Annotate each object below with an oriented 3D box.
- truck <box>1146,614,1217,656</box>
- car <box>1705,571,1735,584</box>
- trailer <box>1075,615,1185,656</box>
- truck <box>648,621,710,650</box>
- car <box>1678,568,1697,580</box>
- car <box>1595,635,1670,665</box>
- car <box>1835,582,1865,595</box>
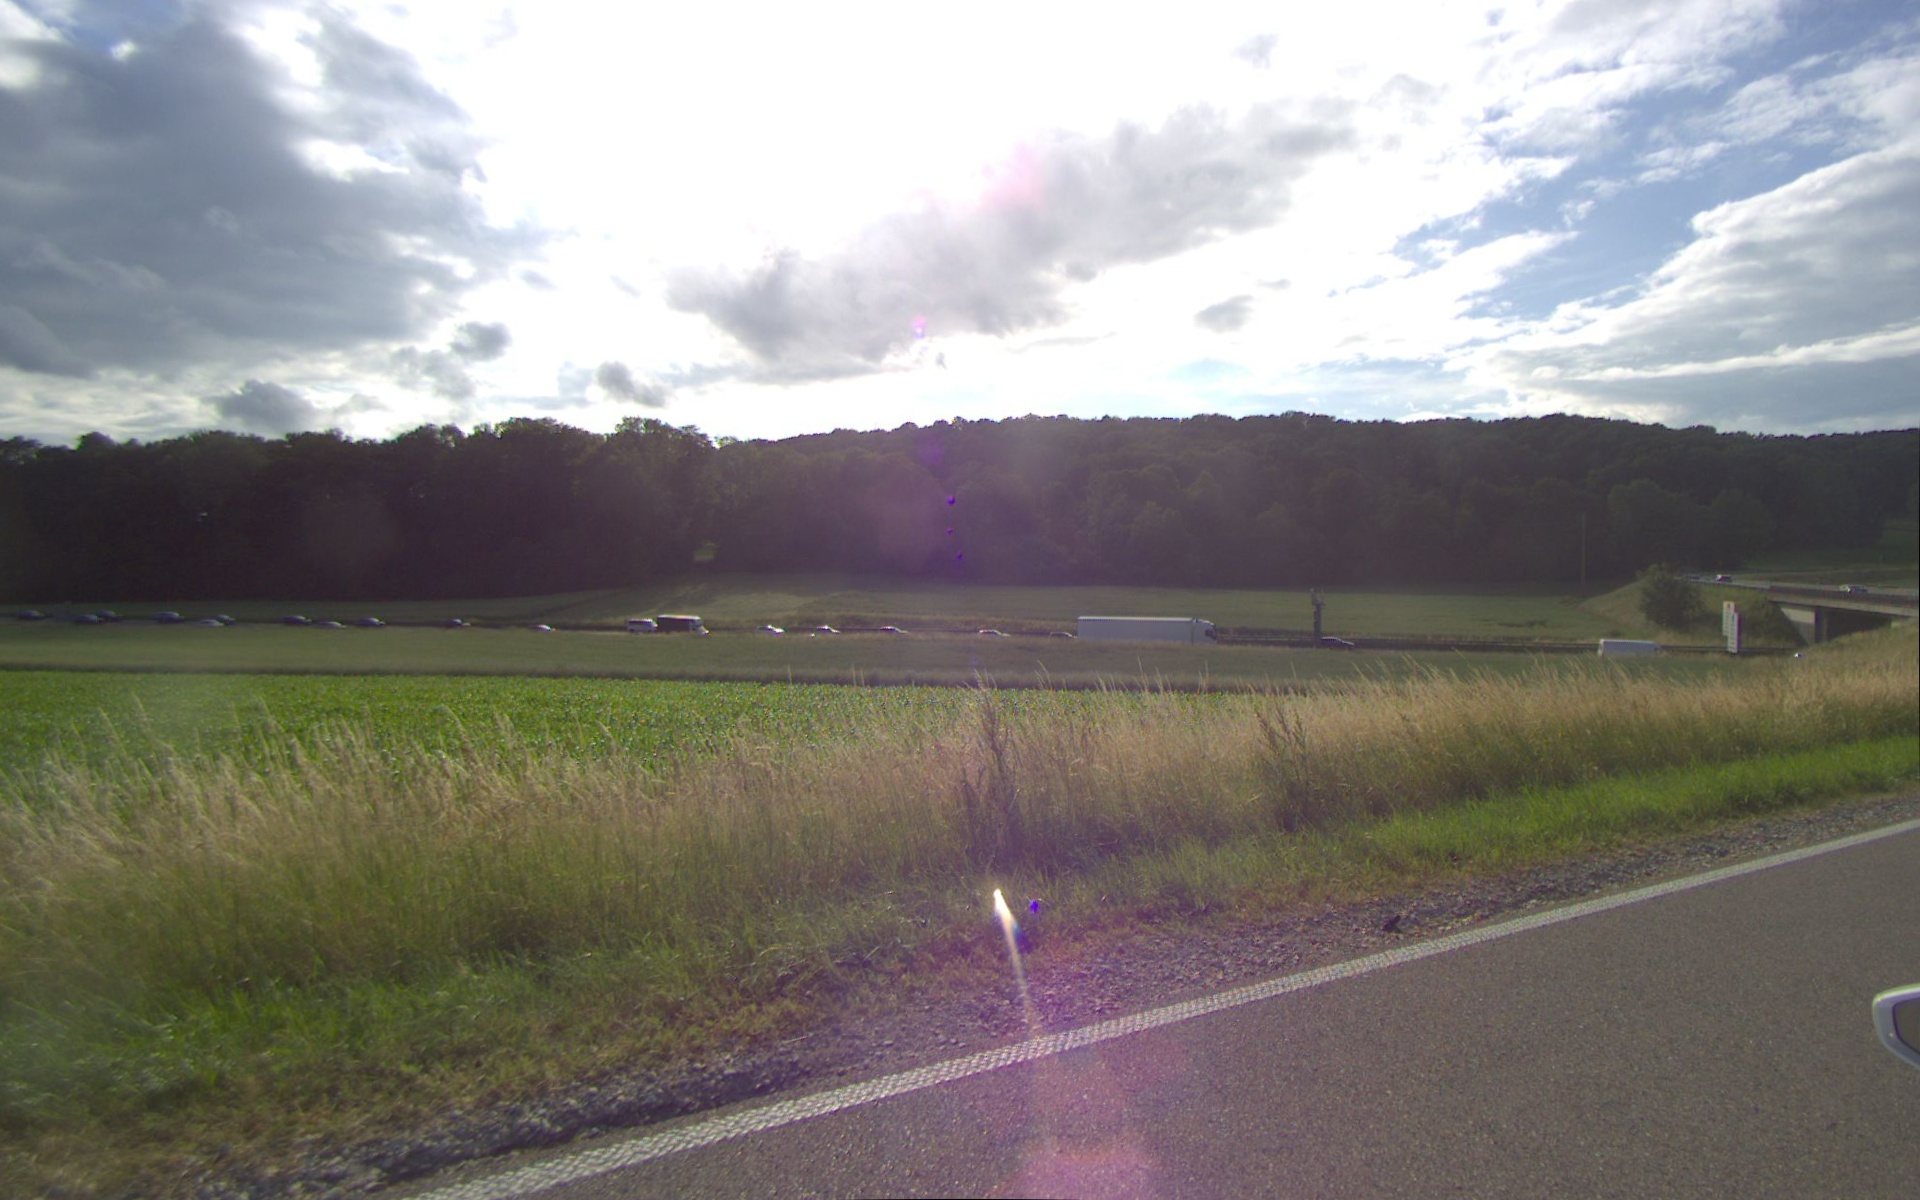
[{"bbox_3d":[25.861,4.080,117.069,7.894,4.530,3.029,-1,5,16],"label":"truck"},{"bbox_3d":[109.444,-3.291,144.687,1.960,1.702,4.178,3,3,17],"label":"car"},{"bbox_3d":[20.135,4.188,118.740,12.471,4.530,3.032,-1,5,16],"label":"trailer"},{"bbox_3d":[-38.420,4.832,137.256,8.331,3.450,2.123,-3,0,21],"label":"truck"},{"bbox_3d":[124.086,-4.433,171.240,1.964,1.795,3.994,-3,0,27],"label":"car"},{"bbox_3d":[67.981,5.046,101.660,6.006,2.620,2.371,-1,6,24],"label":"car"},{"bbox_3d":[93.230,-1.217,105.242,1.448,1.244,3.296,1,2,25],"label":"car"}]
